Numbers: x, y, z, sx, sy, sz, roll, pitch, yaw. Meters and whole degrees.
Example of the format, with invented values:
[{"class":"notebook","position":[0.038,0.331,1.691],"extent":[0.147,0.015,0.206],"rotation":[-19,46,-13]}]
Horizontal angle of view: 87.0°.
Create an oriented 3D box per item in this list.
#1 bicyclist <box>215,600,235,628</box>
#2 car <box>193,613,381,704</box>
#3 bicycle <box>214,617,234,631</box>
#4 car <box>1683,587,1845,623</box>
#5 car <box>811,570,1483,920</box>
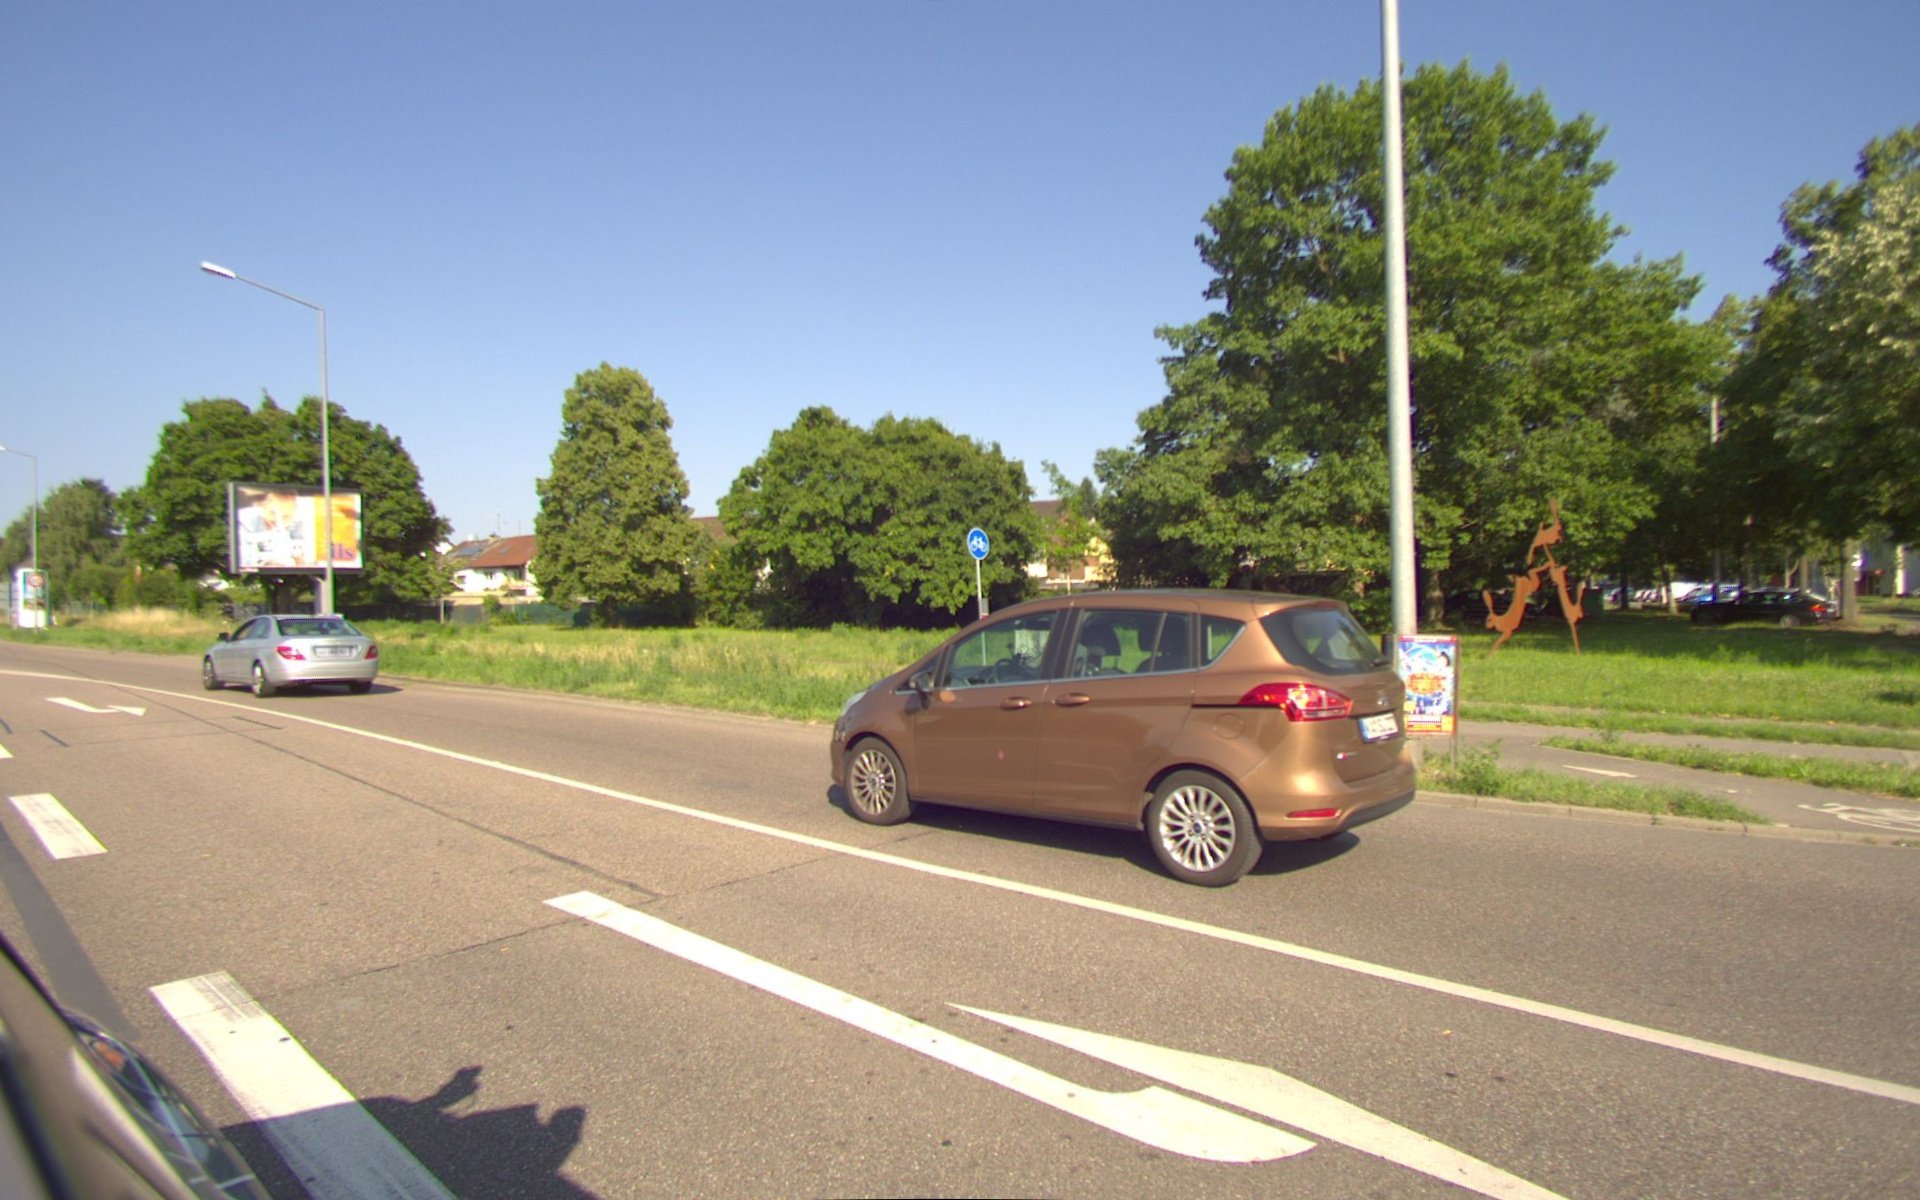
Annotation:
[{"class":"bicyclist","position":[-39.190,0.746,53.966],"extent":[1.071,1.439,0.630],"rotation":[-1,0,41]},{"class":"car","position":[-12.398,0.996,18.539],"extent":[4.365,1.476,1.685],"rotation":[-1,-1,40]},{"class":"bicycle","position":[-39.300,1.268,54.035],"extent":[1.833,0.759,0.449],"rotation":[-1,0,41]},{"class":"car","position":[31.547,0.190,39.888],"extent":[1.499,1.330,4.786],"rotation":[-1,0,-26]},{"class":"car","position":[0.969,0.688,6.569],"extent":[4.000,1.574,1.726],"rotation":[-1,-2,43]}]
